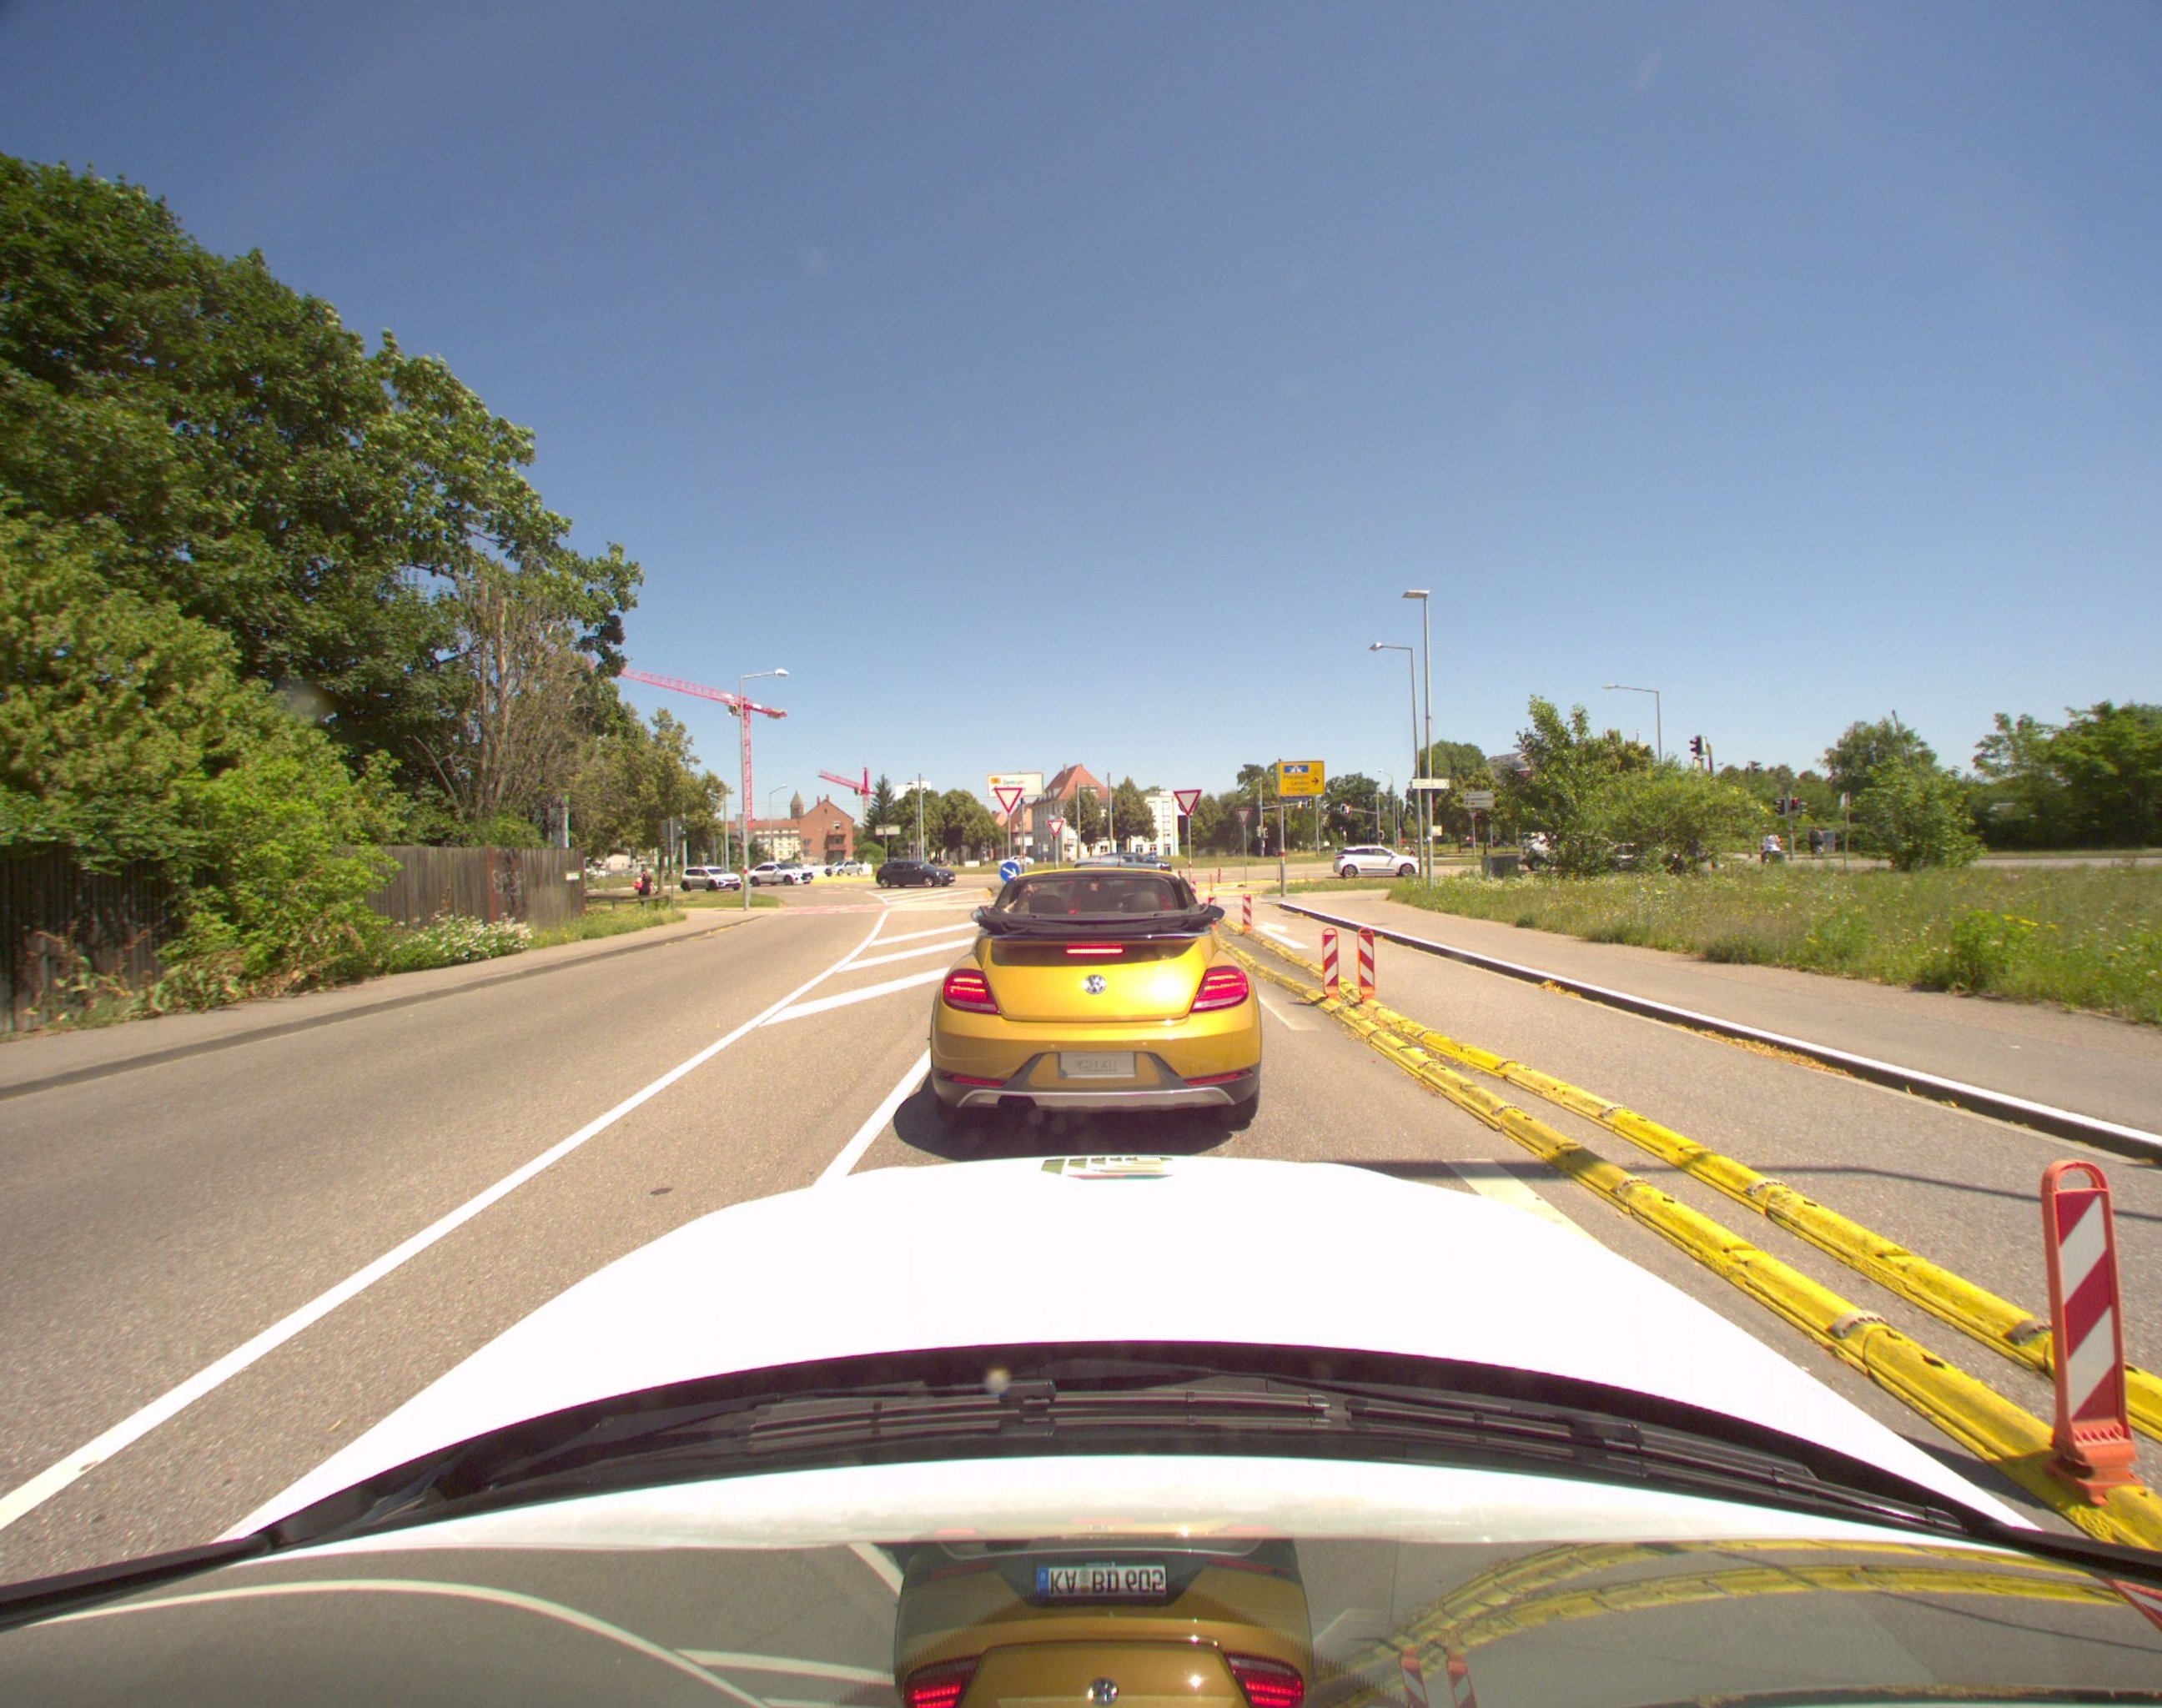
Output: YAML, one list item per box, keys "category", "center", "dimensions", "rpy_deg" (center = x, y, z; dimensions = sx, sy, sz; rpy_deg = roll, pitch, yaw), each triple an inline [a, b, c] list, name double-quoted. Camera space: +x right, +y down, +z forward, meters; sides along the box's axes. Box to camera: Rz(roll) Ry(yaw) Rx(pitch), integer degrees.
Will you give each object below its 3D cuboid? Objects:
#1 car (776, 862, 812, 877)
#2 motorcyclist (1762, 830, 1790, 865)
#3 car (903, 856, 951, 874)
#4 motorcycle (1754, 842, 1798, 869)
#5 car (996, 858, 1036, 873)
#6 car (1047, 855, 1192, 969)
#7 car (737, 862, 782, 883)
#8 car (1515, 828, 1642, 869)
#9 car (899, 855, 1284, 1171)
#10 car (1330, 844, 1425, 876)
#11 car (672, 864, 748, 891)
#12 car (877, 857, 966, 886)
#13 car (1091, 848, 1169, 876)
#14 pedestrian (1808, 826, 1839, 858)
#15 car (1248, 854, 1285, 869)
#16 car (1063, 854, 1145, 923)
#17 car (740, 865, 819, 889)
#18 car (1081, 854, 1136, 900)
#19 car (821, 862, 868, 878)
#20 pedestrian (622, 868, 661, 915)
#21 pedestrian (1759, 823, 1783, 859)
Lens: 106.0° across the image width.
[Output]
- category: "car"
  center: [-25.142, 1.332, 71.396]
  dimensions: [1.700, 1.236, 3.788]
  rpy_deg: [-1, 0, 2]
- category: "motorcyclist"
  center: [25.836, -0.253, 30.285]
  dimensions: [0.616, 1.289, 0.576]
  rpy_deg: [-1, -1, -28]
- category: "car"
  center: [-17.426, 1.201, 92.450]
  dimensions: [4.960, 1.786, 2.002]
  rpy_deg: [-3, 0, -43]
- category: "motorcycle"
  center: [25.817, 0.035, 30.238]
  dimensions: [1.712, 0.970, 0.625]
  rpy_deg: [-1, 0, -28]
- category: "car"
  center: [-8.228, 1.478, 103.318]
  dimensions: [4.702, 1.828, 1.980]
  rpy_deg: [-1, 0, -32]
- category: "car"
  center: [0.559, 0.751, 12.511]
  dimensions: [1.841, 1.442, 4.002]
  rpy_deg: [-1, 0, 2]
- category: "car"
  center: [-24.723, 1.417, 62.839]
  dimensions: [1.749, 1.549, 4.002]
  rpy_deg: [-1, 0, 2]
- category: "car"
  center: [23.983, -0.241, 39.484]
  dimensions: [4.928, 1.850, 2.010]
  rpy_deg: [-1, 0, 20]
- category: "car"
  center: [0.098, 0.736, 5.630]
  dimensions: [1.746, 1.422, 3.778]
  rpy_deg: [-1, 0, 1]
- category: "car"
  center: [13.899, 0.280, 38.349]
  dimensions: [3.983, 1.444, 1.637]
  rpy_deg: [-1, 0, 10]
- category: "car"
  center: [-23.157, 1.476, 50.803]
  dimensions: [4.531, 1.566, 2.012]
  rpy_deg: [-1, 0, 30]
- category: "car"
  center: [-8.432, 0.944, 43.068]
  dimensions: [4.169, 1.442, 2.010]
  rpy_deg: [-1, 0, 21]
- category: "car"
  center: [2.756, 0.425, 45.034]
  dimensions: [4.166, 1.442, 2.003]
  rpy_deg: [-1, 0, 5]
- category: "pedestrian"
  center: [37.832, -0.605, 41.510]
  dimensions: [0.789, 1.563, 0.823]
  rpy_deg: [-1, 0, 3]
- category: "car"
  center: [23.533, 0.971, 103.228]
  dimensions: [1.960, 1.672, 4.149]
  rpy_deg: [-2, 0, -44]
- category: "car"
  center: [0.566, 0.745, 19.518]
  dimensions: [1.730, 1.442, 4.002]
  rpy_deg: [-1, 0, 2]
- category: "car"
  center: [-20.570, 1.569, 55.586]
  dimensions: [4.948, 1.509, 2.011]
  rpy_deg: [-1, 0, 21]
- category: "car"
  center: [0.953, 0.754, 28.328]
  dimensions: [1.730, 1.477, 4.002]
  rpy_deg: [-1, 0, 2]
- category: "car"
  center: [-23.163, 1.558, 79.840]
  dimensions: [1.690, 1.500, 4.247]
  rpy_deg: [-1, 0, 34]
- category: "pedestrian"
  center: [-15.120, 1.280, 28.038]
  dimensions: [0.866, 1.563, 0.815]
  rpy_deg: [-1, -1, 24]
- category: "pedestrian"
  center: [36.564, -0.667, 43.151]
  dimensions: [0.647, 1.870, 0.737]
  rpy_deg: [-1, -1, 3]
